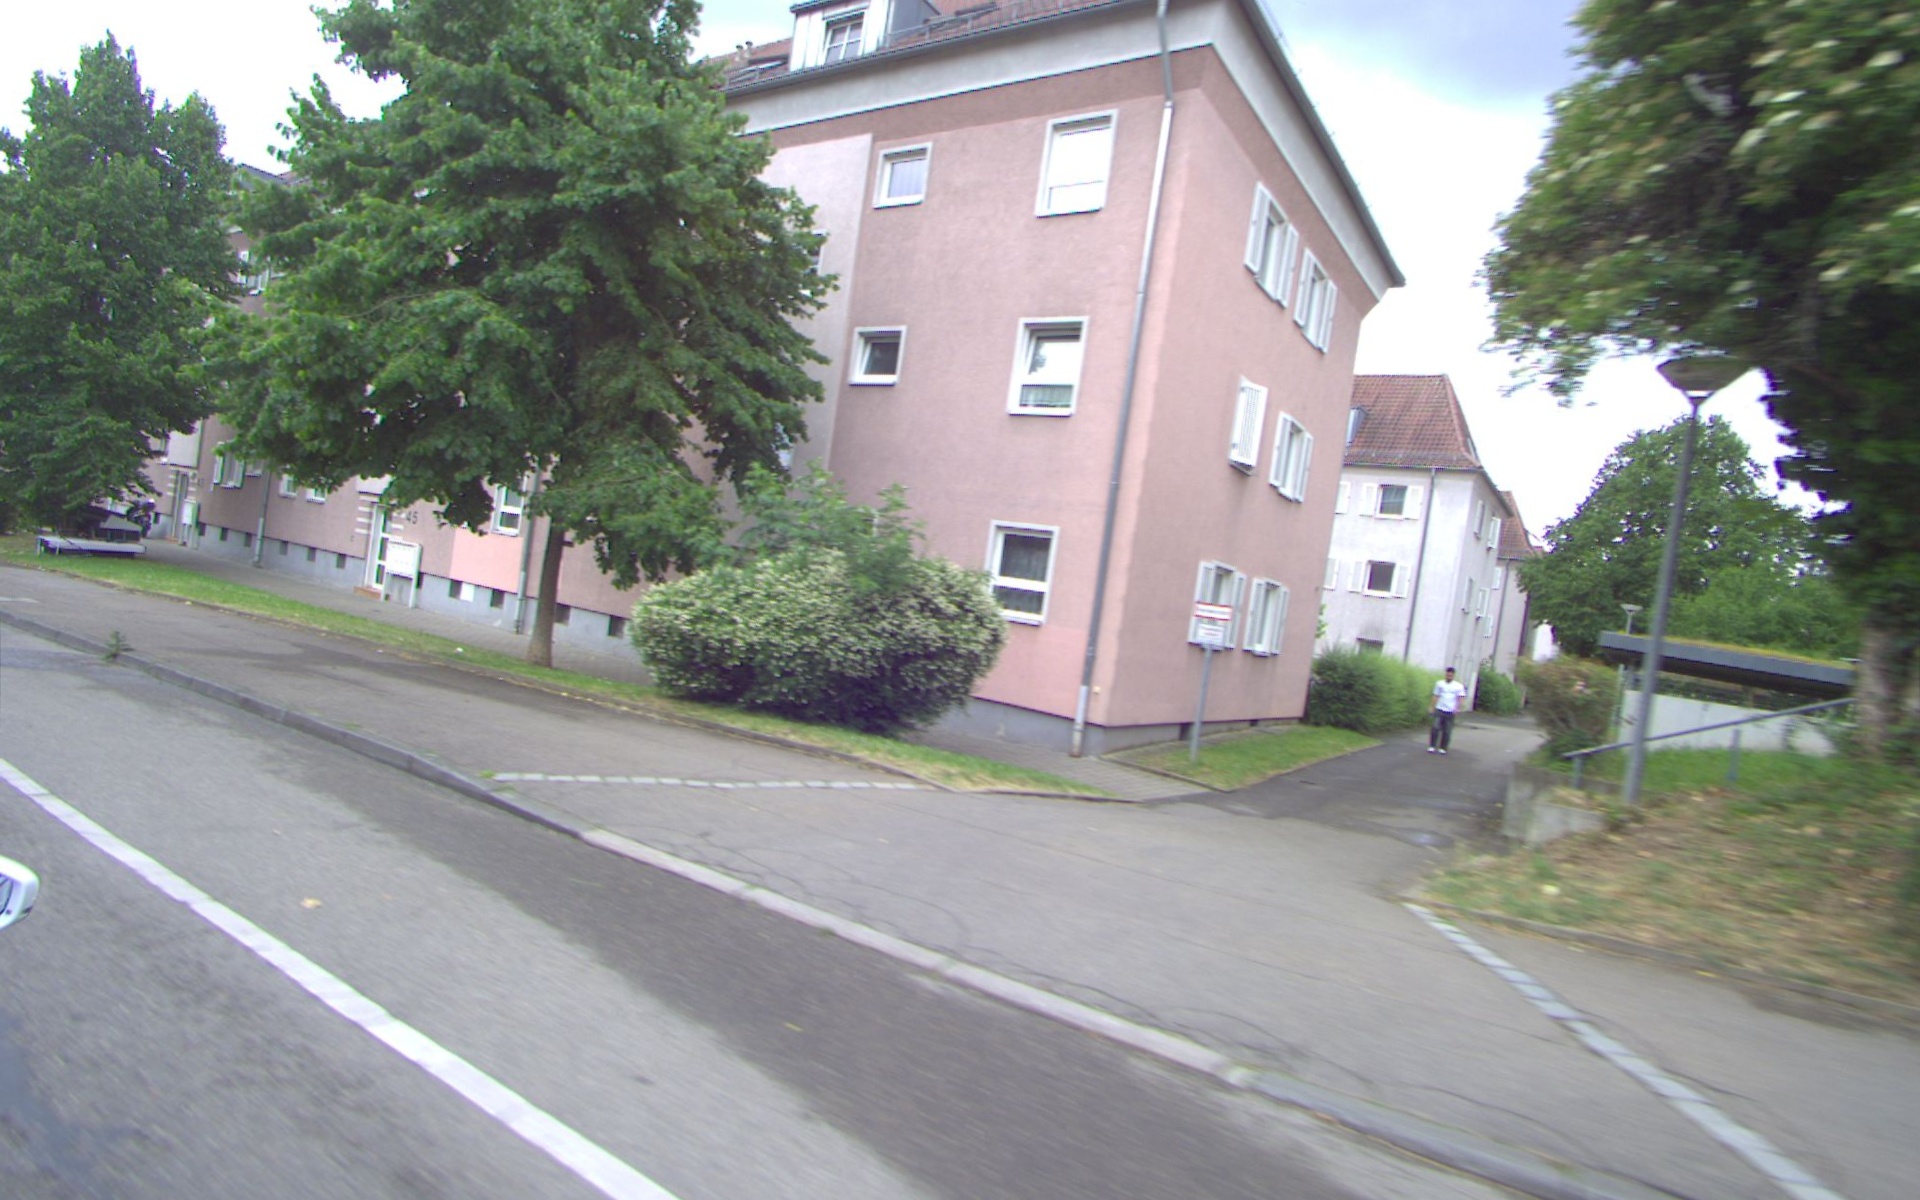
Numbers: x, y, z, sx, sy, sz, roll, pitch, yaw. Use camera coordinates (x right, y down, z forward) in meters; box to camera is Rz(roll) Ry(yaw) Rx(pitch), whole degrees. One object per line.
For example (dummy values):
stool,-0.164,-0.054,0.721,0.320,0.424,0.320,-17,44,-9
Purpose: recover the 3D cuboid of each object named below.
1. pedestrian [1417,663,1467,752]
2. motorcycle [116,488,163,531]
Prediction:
pedestrian,9.667,2.154,20.180,0.676,1.672,0.569,7,0,31
motorcycle,-27.366,-3.026,33.539,1.936,1.242,0.591,7,0,34
